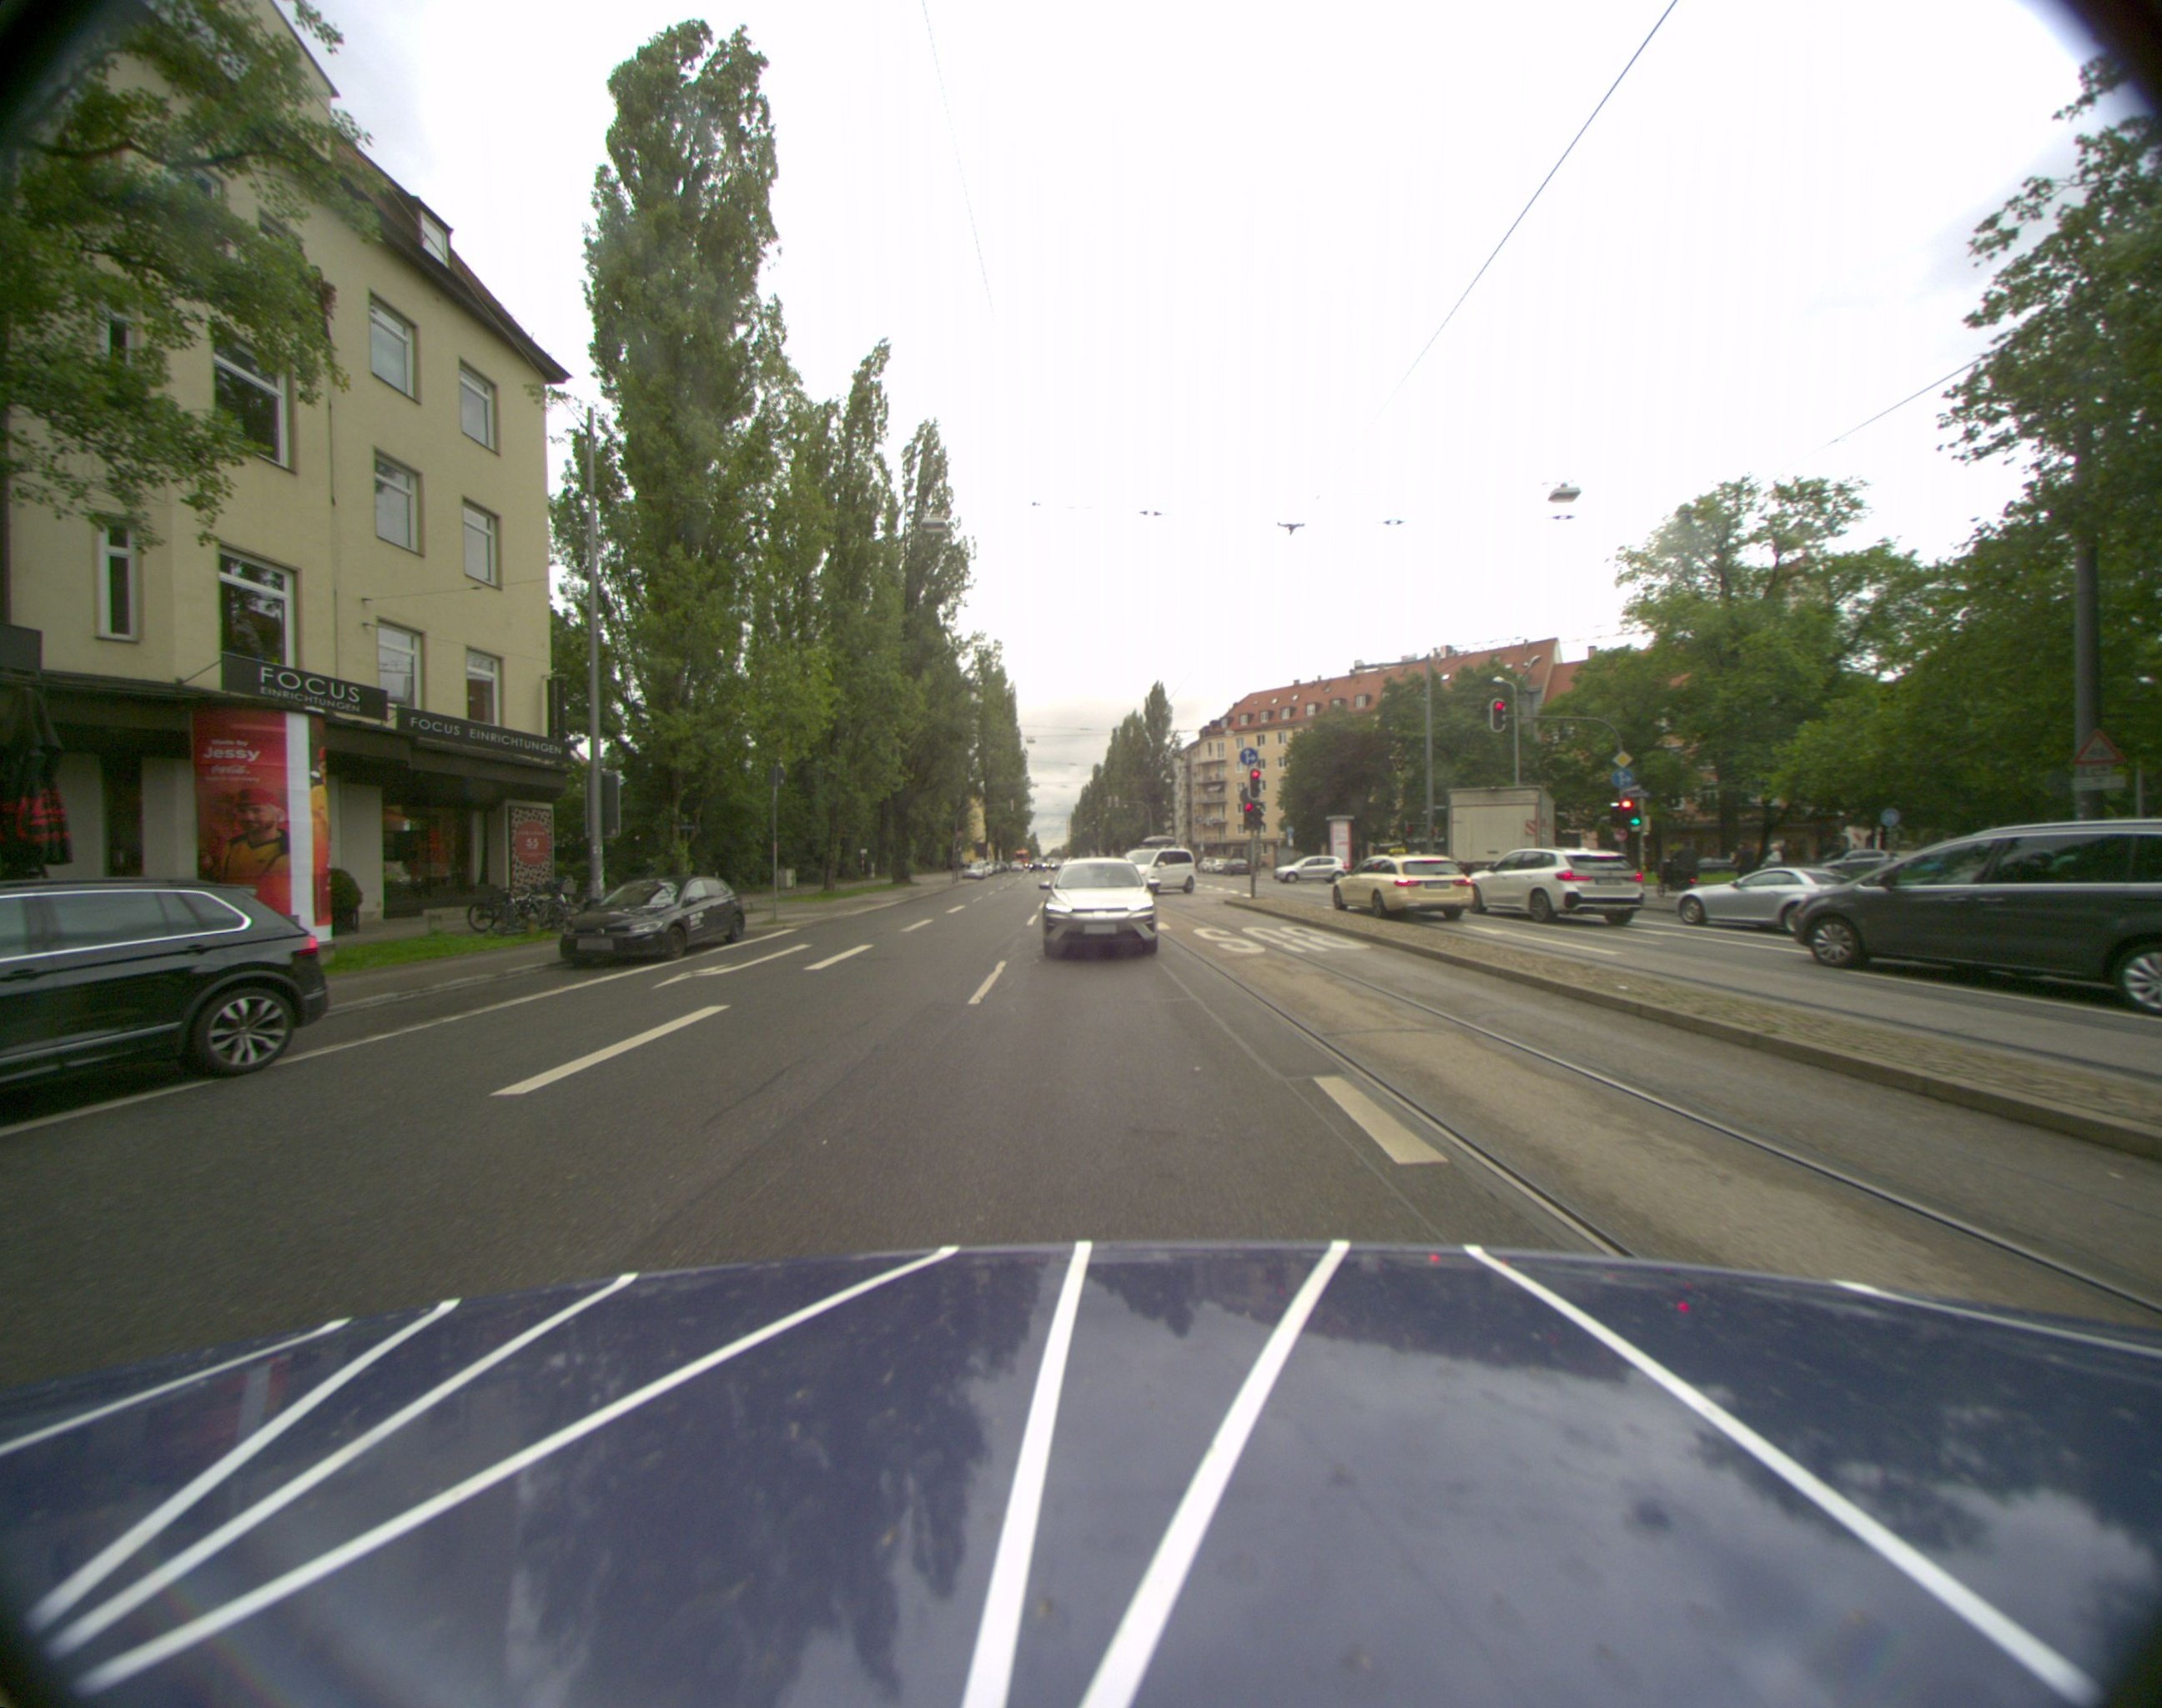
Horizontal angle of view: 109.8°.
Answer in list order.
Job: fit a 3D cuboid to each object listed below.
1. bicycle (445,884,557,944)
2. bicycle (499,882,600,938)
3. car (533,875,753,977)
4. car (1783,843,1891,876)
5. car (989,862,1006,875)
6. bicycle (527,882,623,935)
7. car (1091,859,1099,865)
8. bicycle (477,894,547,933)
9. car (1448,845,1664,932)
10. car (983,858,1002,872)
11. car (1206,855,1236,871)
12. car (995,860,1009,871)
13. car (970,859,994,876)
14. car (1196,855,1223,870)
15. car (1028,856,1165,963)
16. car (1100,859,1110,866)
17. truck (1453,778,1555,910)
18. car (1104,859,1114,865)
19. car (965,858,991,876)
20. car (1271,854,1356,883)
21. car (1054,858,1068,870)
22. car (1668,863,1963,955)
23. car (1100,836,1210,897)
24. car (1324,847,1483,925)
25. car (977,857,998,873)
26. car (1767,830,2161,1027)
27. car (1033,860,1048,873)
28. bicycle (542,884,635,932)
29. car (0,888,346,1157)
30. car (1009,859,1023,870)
[{"bbox_3d":[-12.004,1.237,15.753,1.888,1.178,0.496,-1,0,-1],"label":"bicycle"},{"bbox_3d":[-11.948,1.253,17.113,1.888,1.178,0.496,-1,0,-1],"label":"bicycle"},{"bbox_3d":[-7.809,1.204,14.058,1.804,1.457,3.999,-2,0,-2],"label":"car"},{"bbox_3d":[44.188,0.318,44.466,4.552,1.809,1.937,-1,0,-3],"label":"car"},{"bbox_3d":[-10.415,1.823,94.636,1.786,1.477,4.138,-1,0,-3],"label":"car"},{"bbox_3d":[-11.847,1.272,17.814,1.888,1.178,0.496,-1,0,-1],"label":"bicycle"},{"bbox_3d":[3.973,2.228,217.927,1.999,1.695,3.999,-1,-2,-5],"label":"car"},{"bbox_3d":[-13.626,1.422,18.211,1.370,0.878,0.389,-1,0,-1],"label":"bicycle"},{"bbox_3d":[10.507,0.675,17.364,1.920,1.673,4.891,-1,0,0],"label":"car"},{"bbox_3d":[-10.215,1.230,87.882,1.786,1.477,4.138,-1,0,-3],"label":"car"},{"bbox_3d":[12.951,0.846,70.396,1.730,1.399,4.374,-1,0,-3],"label":"car"},{"bbox_3d":[-11.600,1.707,111.652,1.786,1.477,4.138,-1,0,-3],"label":"car"},{"bbox_3d":[-9.331,1.222,71.964,1.786,1.477,4.258,-1,0,-2],"label":"car"},{"bbox_3d":[12.732,0.786,75.450,1.730,1.399,4.374,-1,0,-3],"label":"car"},{"bbox_3d":[0.092,0.862,13.246,1.776,1.515,4.206,-1,-1,-7],"label":"car"},{"bbox_3d":[5.869,2.109,187.320,1.818,1.707,3.999,-1,-2,-5],"label":"car"},{"bbox_3d":[16.112,-0.301,28.596,2.740,3.957,11.739,1,0,31],"label":"truck"},{"bbox_3d":[6.579,1.871,176.094,1.818,1.461,3.999,-1,-2,-5],"label":"car"},{"bbox_3d":[-8.923,1.097,66.018,1.786,1.477,4.351,-1,0,-3],"label":"car"},{"bbox_3d":[13.032,0.806,42.680,4.207,1.515,1.776,-1,-1,-5],"label":"car"},{"bbox_3d":[-2.767,1.396,105.524,1.786,1.477,4.138,-1,0,-3],"label":"car"},{"bbox_3d":[13.653,0.933,14.546,1.735,1.403,4.103,2,0,2],"label":"car"},{"bbox_3d":[3.154,0.451,31.424,1.908,2.337,4.955,0,0,42],"label":"car"},{"bbox_3d":[7.570,0.674,18.448,1.826,1.629,4.891,-1,0,1],"label":"car"},{"bbox_3d":[-9.447,1.098,77.054,1.786,1.477,4.138,-1,0,-3],"label":"car"},{"bbox_3d":[10.151,0.619,7.867,1.826,1.673,4.892,-1,0,2],"label":"car"},{"bbox_3d":[-4.931,1.498,92.456,1.786,1.477,4.138,-1,0,-3],"label":"car"},{"bbox_3d":[-11.881,1.296,18.342,1.888,1.075,0.496,-1,0,-1],"label":"bicycle"},{"bbox_3d":[-7.703,1.127,4.777,1.725,1.603,4.471,-1,0,1],"label":"car"},{"bbox_3d":[-9.268,1.434,108.546,1.786,1.477,4.138,-1,0,-3],"label":"car"}]
